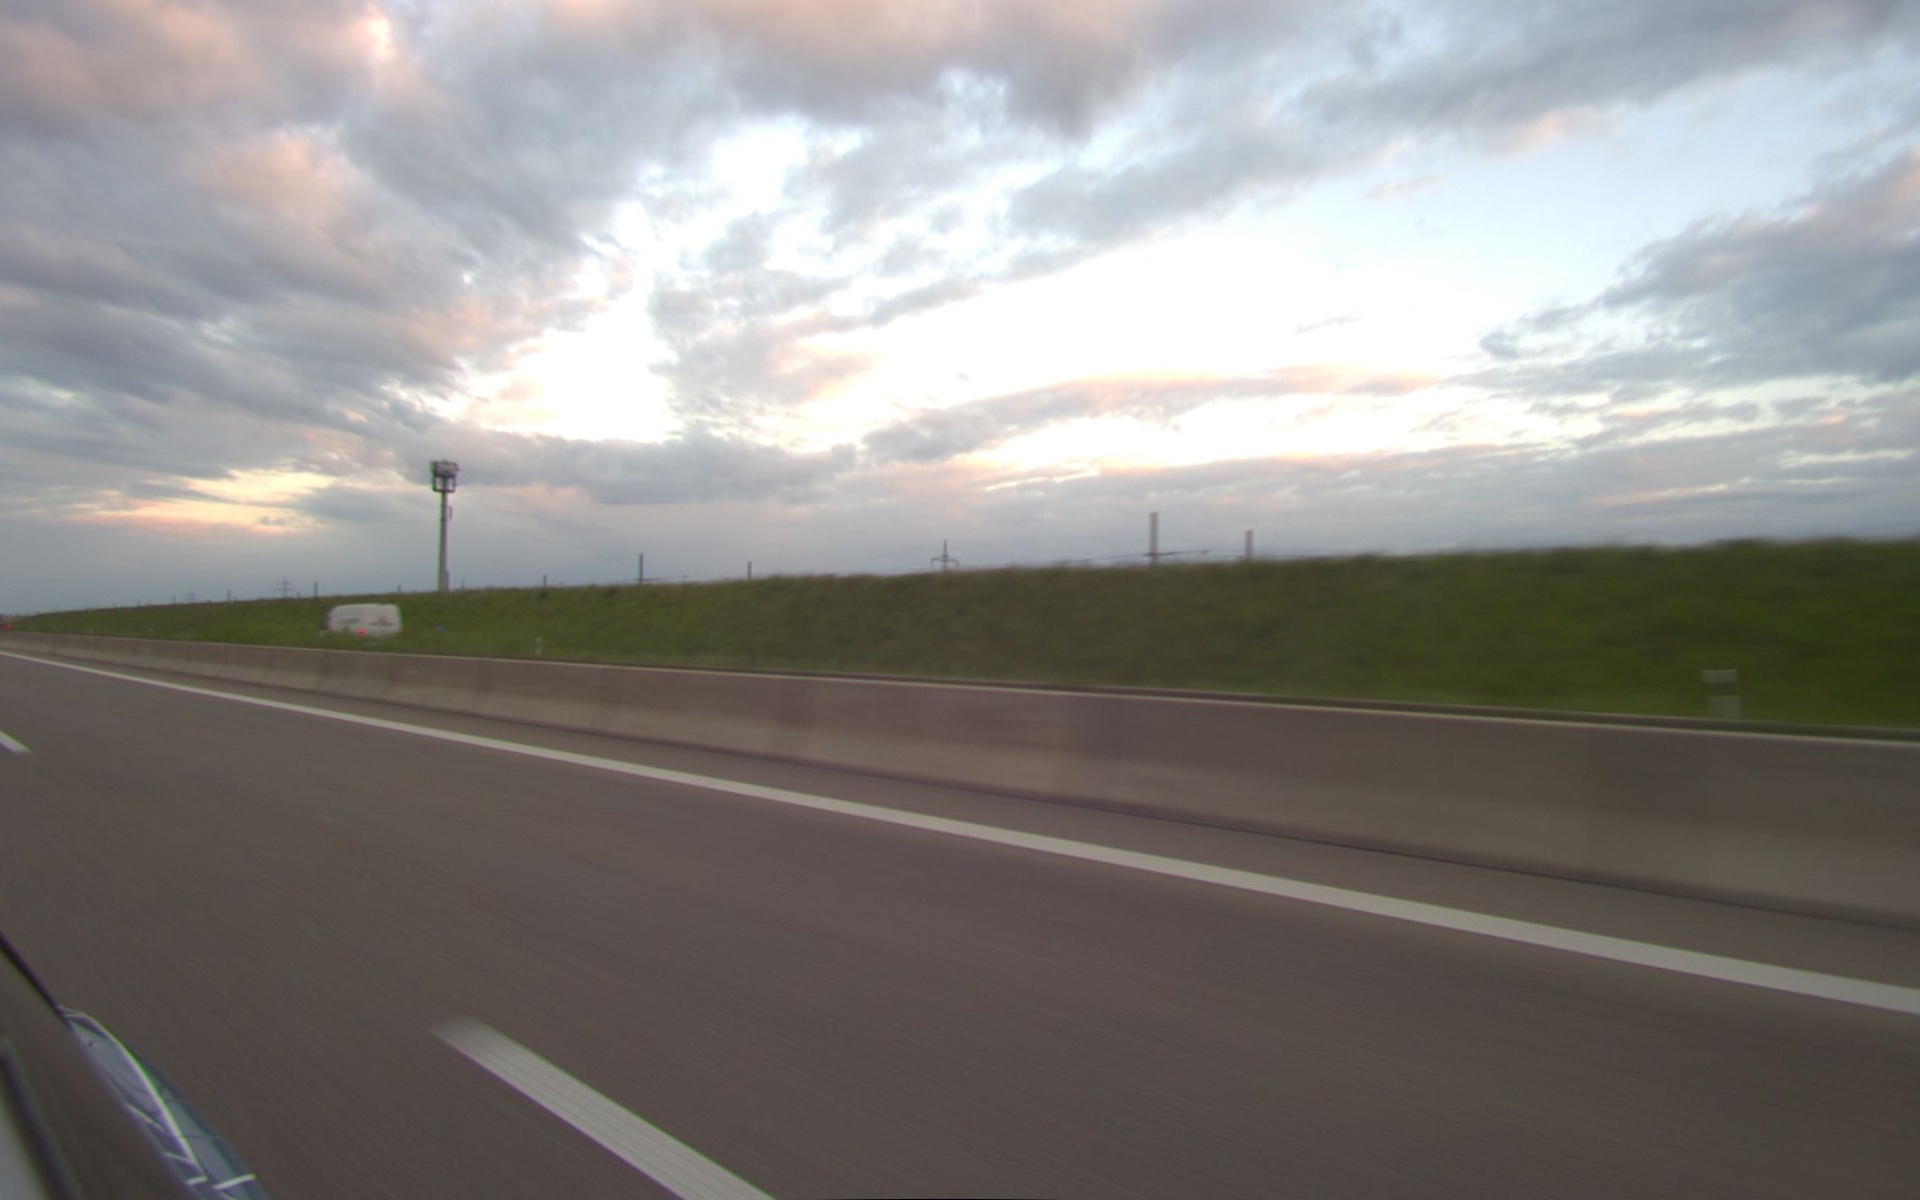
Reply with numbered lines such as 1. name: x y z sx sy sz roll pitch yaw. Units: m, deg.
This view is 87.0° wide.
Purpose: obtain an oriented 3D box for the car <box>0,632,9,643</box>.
1. car: -138.759 5.365 146.107 4.105 1.604 1.833 -2 -3 42

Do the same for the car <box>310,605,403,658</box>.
1. car: -31.689 1.641 53.013 7.373 2.566 1.973 -1 -2 41
